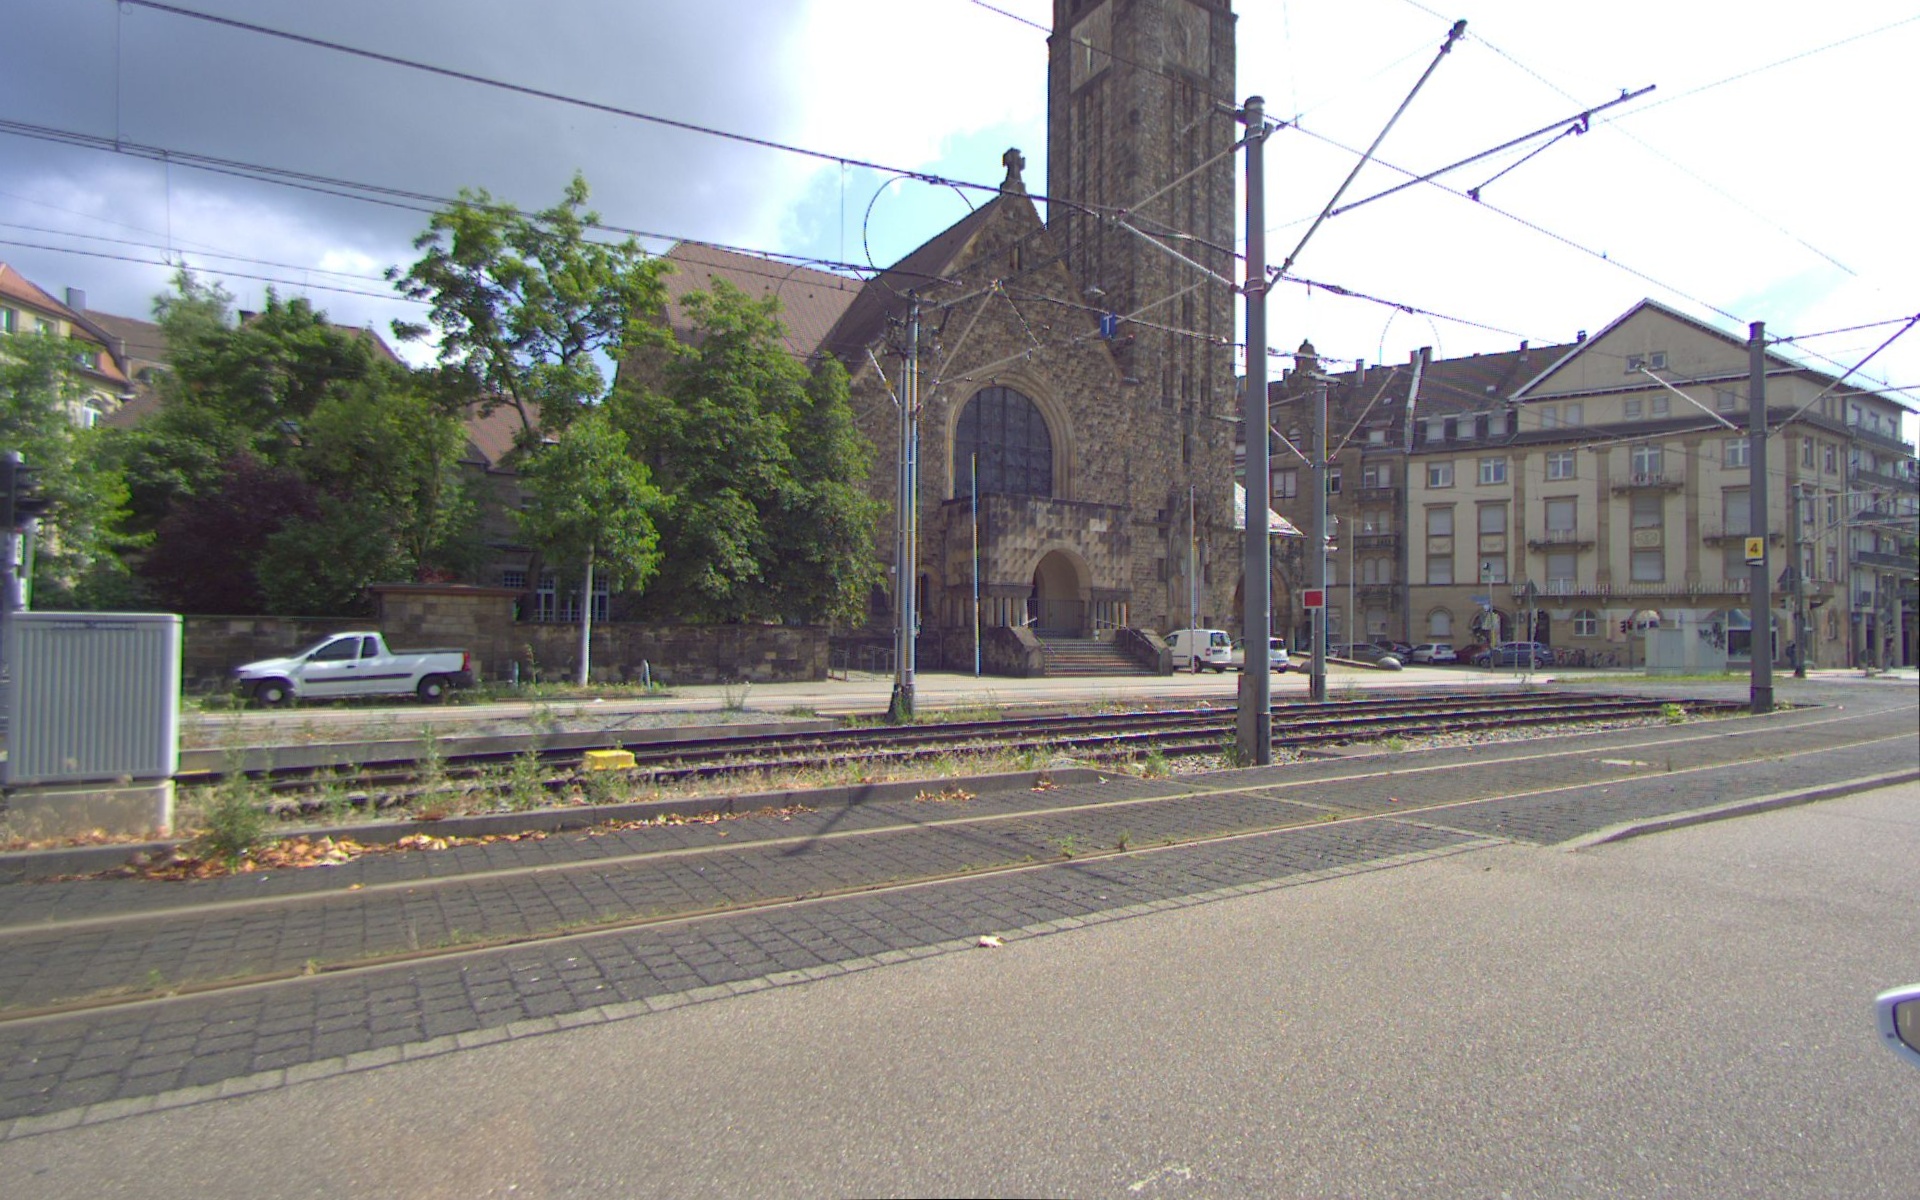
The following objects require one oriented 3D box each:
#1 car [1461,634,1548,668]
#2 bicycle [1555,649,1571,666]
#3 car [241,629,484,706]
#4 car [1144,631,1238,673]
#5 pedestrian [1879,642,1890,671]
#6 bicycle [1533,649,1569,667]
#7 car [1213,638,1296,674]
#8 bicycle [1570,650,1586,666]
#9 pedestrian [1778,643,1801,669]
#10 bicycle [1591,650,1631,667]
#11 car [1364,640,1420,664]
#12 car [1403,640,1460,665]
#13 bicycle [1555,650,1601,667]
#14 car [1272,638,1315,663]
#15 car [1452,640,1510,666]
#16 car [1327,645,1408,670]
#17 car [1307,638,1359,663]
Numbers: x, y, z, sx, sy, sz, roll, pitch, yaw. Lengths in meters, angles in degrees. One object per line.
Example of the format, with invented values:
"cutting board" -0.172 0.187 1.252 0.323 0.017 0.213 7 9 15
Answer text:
"car" 34.664 3.203 63.929 4.724 2.040 1.995 -1 -2 33
"bicycle" 40.089 3.807 66.771 0.791 1.067 2.562 -1 -2 29
"car" -12.937 1.427 21.934 4.368 1.524 1.919 2 -2 -34
"car" 10.182 2.280 44.487 1.876 1.771 3.846 2 -2 -34
"pedestrian" 63.525 3.879 69.045 0.416 2.040 0.474 2 -2 -37
"bicycle" 38.209 3.721 64.992 1.938 1.129 0.487 0 -2 22
"car" 13.311 2.506 45.568 1.835 1.522 3.246 2 -2 -33
"bicycle" 40.818 3.816 66.343 0.791 1.067 2.562 -1 -2 29
"pedestrian" 51.441 3.457 62.310 0.844 1.617 0.694 0 -2 12
"bicycle" 42.323 3.822 65.306 2.527 1.067 0.802 1 -2 -20
"car" 30.734 3.681 71.602 1.963 1.695 3.996 1 -2 -7
"car" 33.060 3.668 70.479 1.769 1.661 3.996 1 -2 -7
"bicycle" 39.910 3.762 64.874 2.521 1.067 0.681 -1 -2 31
"car" 24.999 3.754 75.502 1.850 1.782 4.000 1 -2 -1
"car" 35.487 3.612 68.501 1.960 1.696 4.001 0 -2 1
"car" 25.544 3.609 63.053 4.495 1.455 1.701 -1 -3 35
"car" 27.422 3.678 73.969 1.963 1.757 3.996 1 -2 -7
